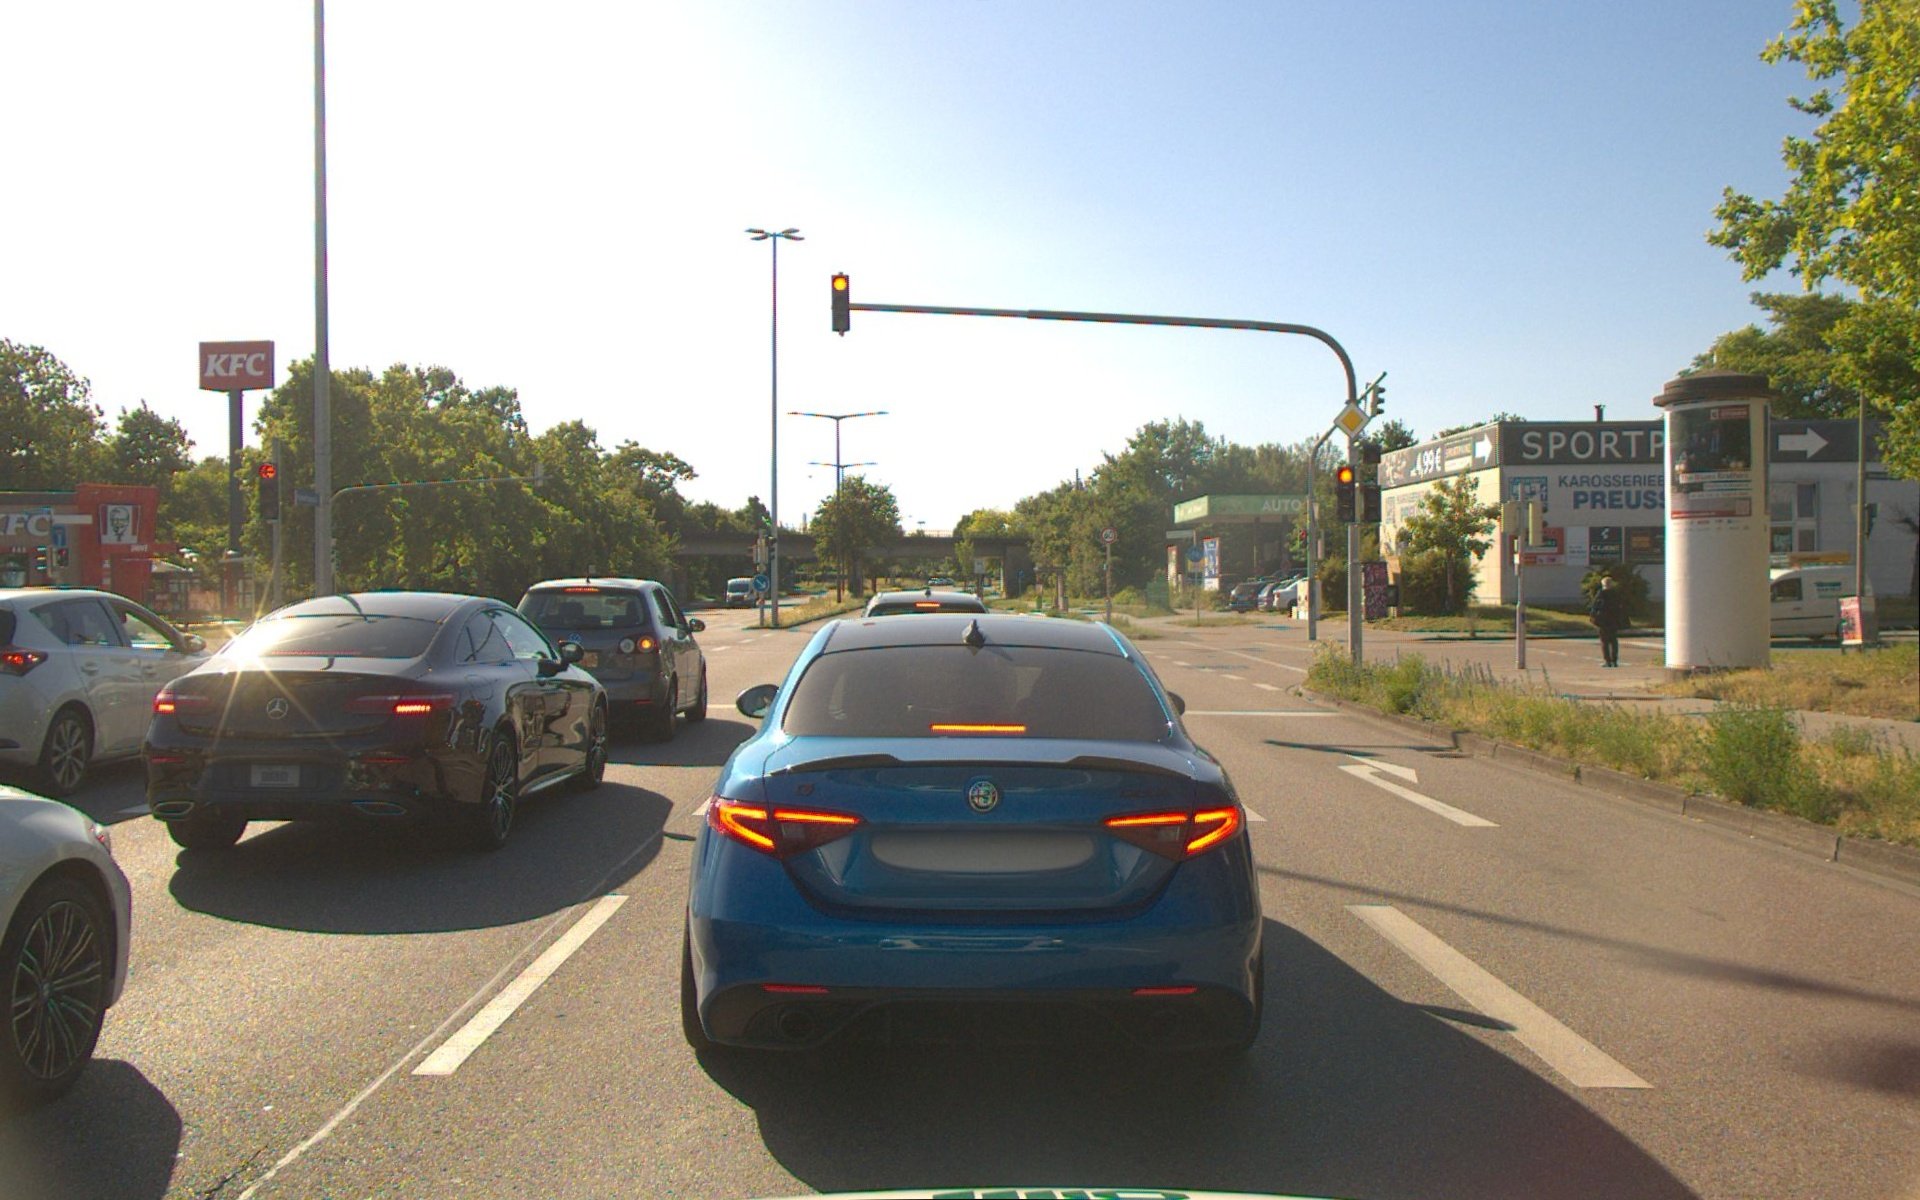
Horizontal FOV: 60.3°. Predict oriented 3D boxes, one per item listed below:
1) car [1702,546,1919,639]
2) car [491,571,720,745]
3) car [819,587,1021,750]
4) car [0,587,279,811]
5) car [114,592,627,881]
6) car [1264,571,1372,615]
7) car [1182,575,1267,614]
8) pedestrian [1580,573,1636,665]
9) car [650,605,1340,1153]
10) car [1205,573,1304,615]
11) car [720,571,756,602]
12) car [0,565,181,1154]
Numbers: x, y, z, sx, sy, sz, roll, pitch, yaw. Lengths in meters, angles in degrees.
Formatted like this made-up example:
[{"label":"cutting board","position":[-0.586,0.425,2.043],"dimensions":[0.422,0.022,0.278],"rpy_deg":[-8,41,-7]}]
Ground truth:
[{"label":"car","position":[20.603,-0.187,40.152],"dimensions":[4.318,2.183,1.998],"rpy_deg":[0,0,-4]},{"label":"car","position":[-3.604,0.529,17.449],"dimensions":[1.615,1.626,3.931],"rpy_deg":[0,0,-1]},{"label":"car","position":[-0.394,0.613,17.049],"dimensions":[1.828,1.475,3.931],"rpy_deg":[0,0,-1]},{"label":"car","position":[-7.127,0.630,12.948],"dimensions":[1.819,1.454,4.403],"rpy_deg":[0,0,-1]},{"label":"car","position":[-3.416,0.674,10.564],"dimensions":[1.732,1.439,4.460],"rpy_deg":[0,0,-1]},{"label":"car","position":[14.347,-0.275,66.316],"dimensions":[3.923,1.736,1.687],"rpy_deg":[0,0,-17]},{"label":"car","position":[11.881,-0.258,74.325],"dimensions":[3.428,1.736,1.688],"rpy_deg":[0,0,-16]},{"label":"pedestrian","position":[12.594,0.358,32.156],"dimensions":[0.805,1.752,0.854],"rpy_deg":[0,0,6]},{"label":"car","position":[0.070,0.751,6.365],"dimensions":[1.828,1.409,3.931],"rpy_deg":[0,0,-1]},{"label":"car","position":[12.675,-0.264,71.146],"dimensions":[3.928,1.736,1.686],"rpy_deg":[0,0,-20]},{"label":"car","position":[-18.187,-1.126,135.828],"dimensions":[2.383,2.469,5.828],"rpy_deg":[0,0,-2]},{"label":"car","position":[-3.352,0.687,3.091],"dimensions":[1.732,1.535,4.460],"rpy_deg":[0,0,-1]}]
